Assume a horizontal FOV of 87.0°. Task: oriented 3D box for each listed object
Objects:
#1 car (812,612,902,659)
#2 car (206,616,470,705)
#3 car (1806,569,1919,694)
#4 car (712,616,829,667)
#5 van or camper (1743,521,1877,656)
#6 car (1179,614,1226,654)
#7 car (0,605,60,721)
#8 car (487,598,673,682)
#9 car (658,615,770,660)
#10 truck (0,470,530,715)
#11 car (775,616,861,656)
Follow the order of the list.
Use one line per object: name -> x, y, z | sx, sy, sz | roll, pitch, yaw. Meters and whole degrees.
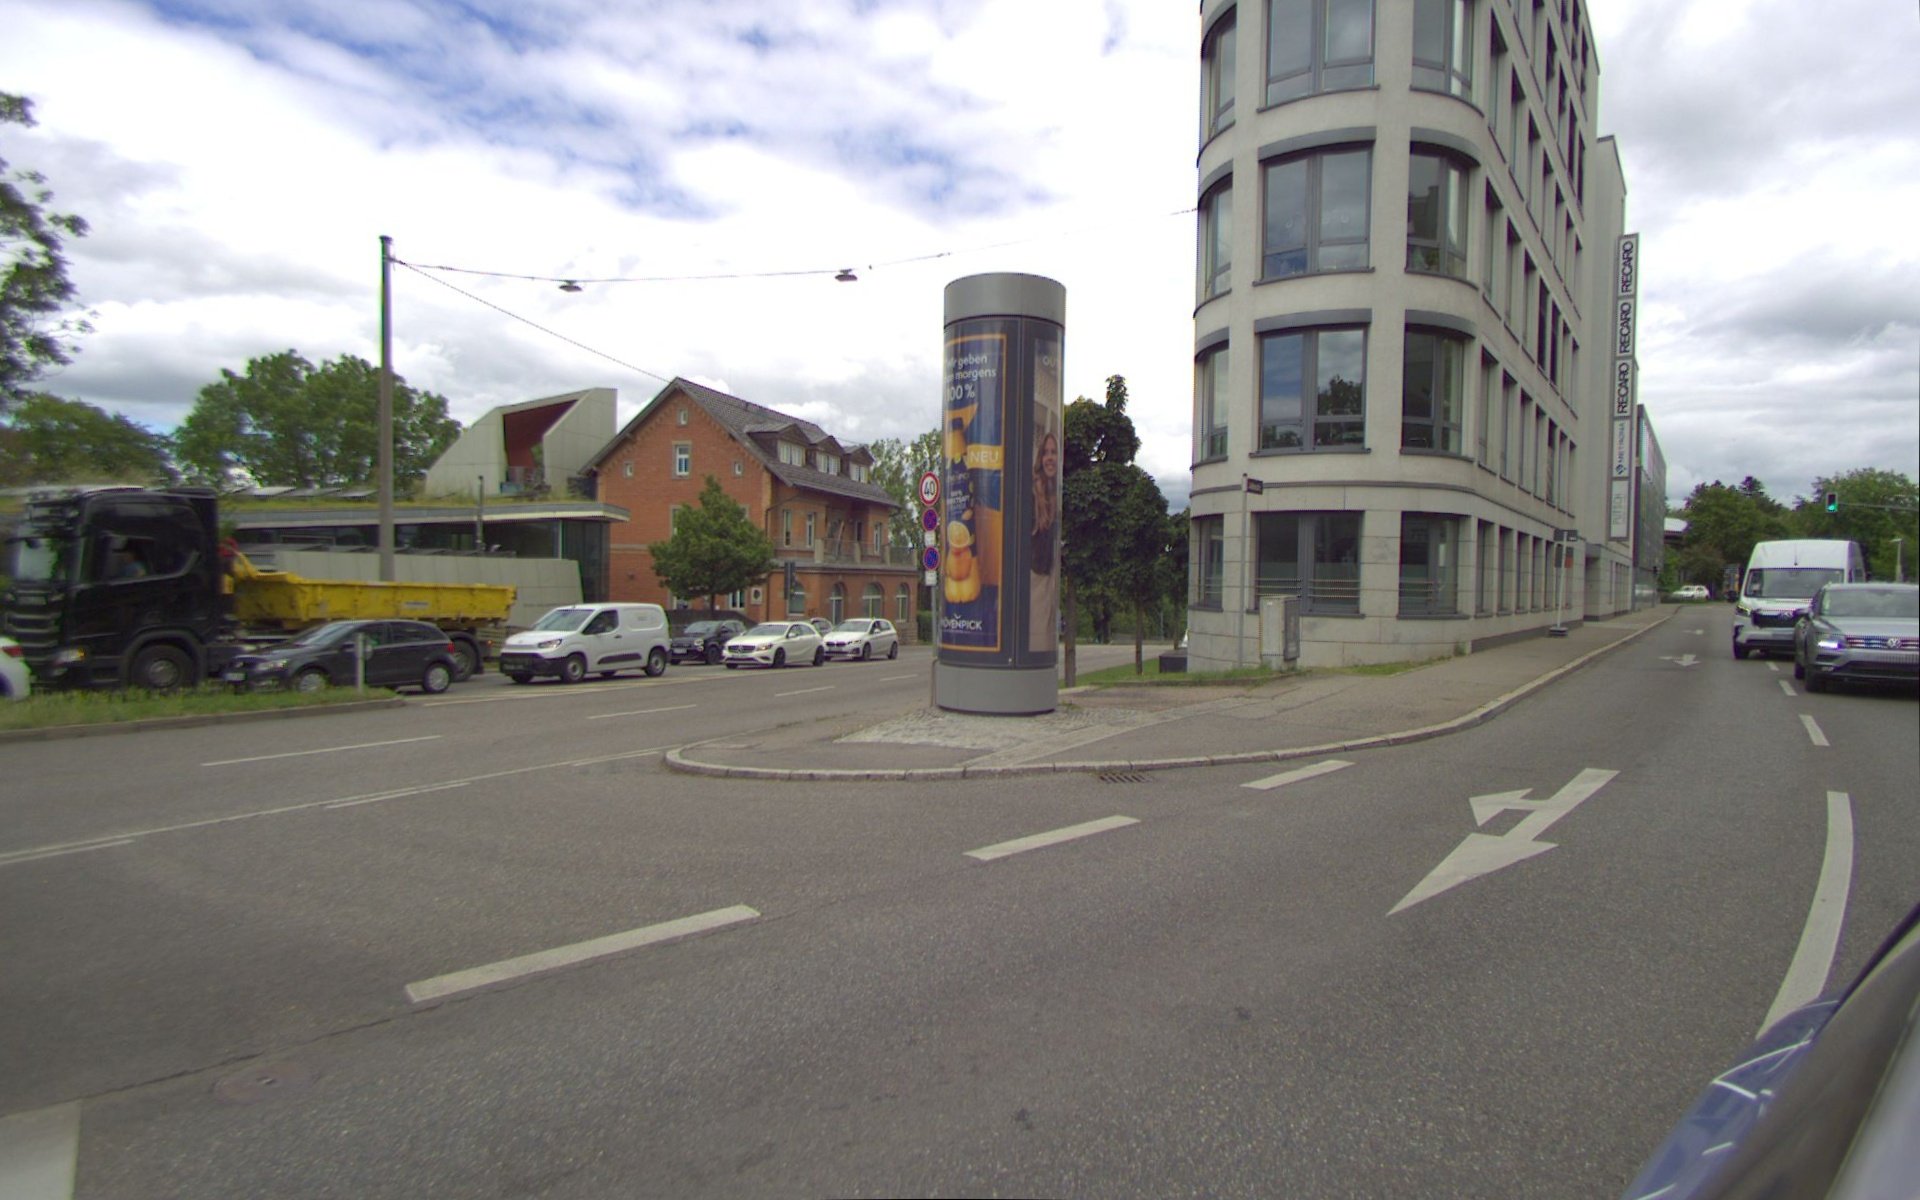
car -> -3.755, 1.291, 37.726 | 1.714, 1.588, 4.300 | -2, -1, 18
car -> -11.319, 1.029, 18.734 | 1.636, 1.391, 3.943 | 0, 0, 25
car -> 14.090, 0.395, 15.283 | 1.825, 1.666, 4.268 | 0, 1, 38
car -> -5.773, 1.231, 31.359 | 1.733, 1.393, 4.261 | 0, 0, 19
van or camper -> 19.523, -0.266, 23.498 | 2.100, 2.724, 6.213 | 0, 0, 38
car -> 14.078, 1.916, 58.634 | 2.151, 2.038, 3.973 | 0, 1, 21
car -> -14.354, 0.833, 12.532 | 1.837, 1.549, 4.448 | 0, -1, 25
car -> -8.895, 0.860, 24.084 | 1.735, 1.819, 4.254 | 0, 0, 23
car -> -8.231, 1.213, 34.206 | 1.667, 1.350, 3.953 | 0, 0, 23
truck -> -13.780, -0.175, 21.270 | 2.798, 3.975, 9.380 | 0, 0, 24
car -> -5.679, 1.421, 40.904 | 1.667, 1.459, 3.953 | 0, 0, 23
